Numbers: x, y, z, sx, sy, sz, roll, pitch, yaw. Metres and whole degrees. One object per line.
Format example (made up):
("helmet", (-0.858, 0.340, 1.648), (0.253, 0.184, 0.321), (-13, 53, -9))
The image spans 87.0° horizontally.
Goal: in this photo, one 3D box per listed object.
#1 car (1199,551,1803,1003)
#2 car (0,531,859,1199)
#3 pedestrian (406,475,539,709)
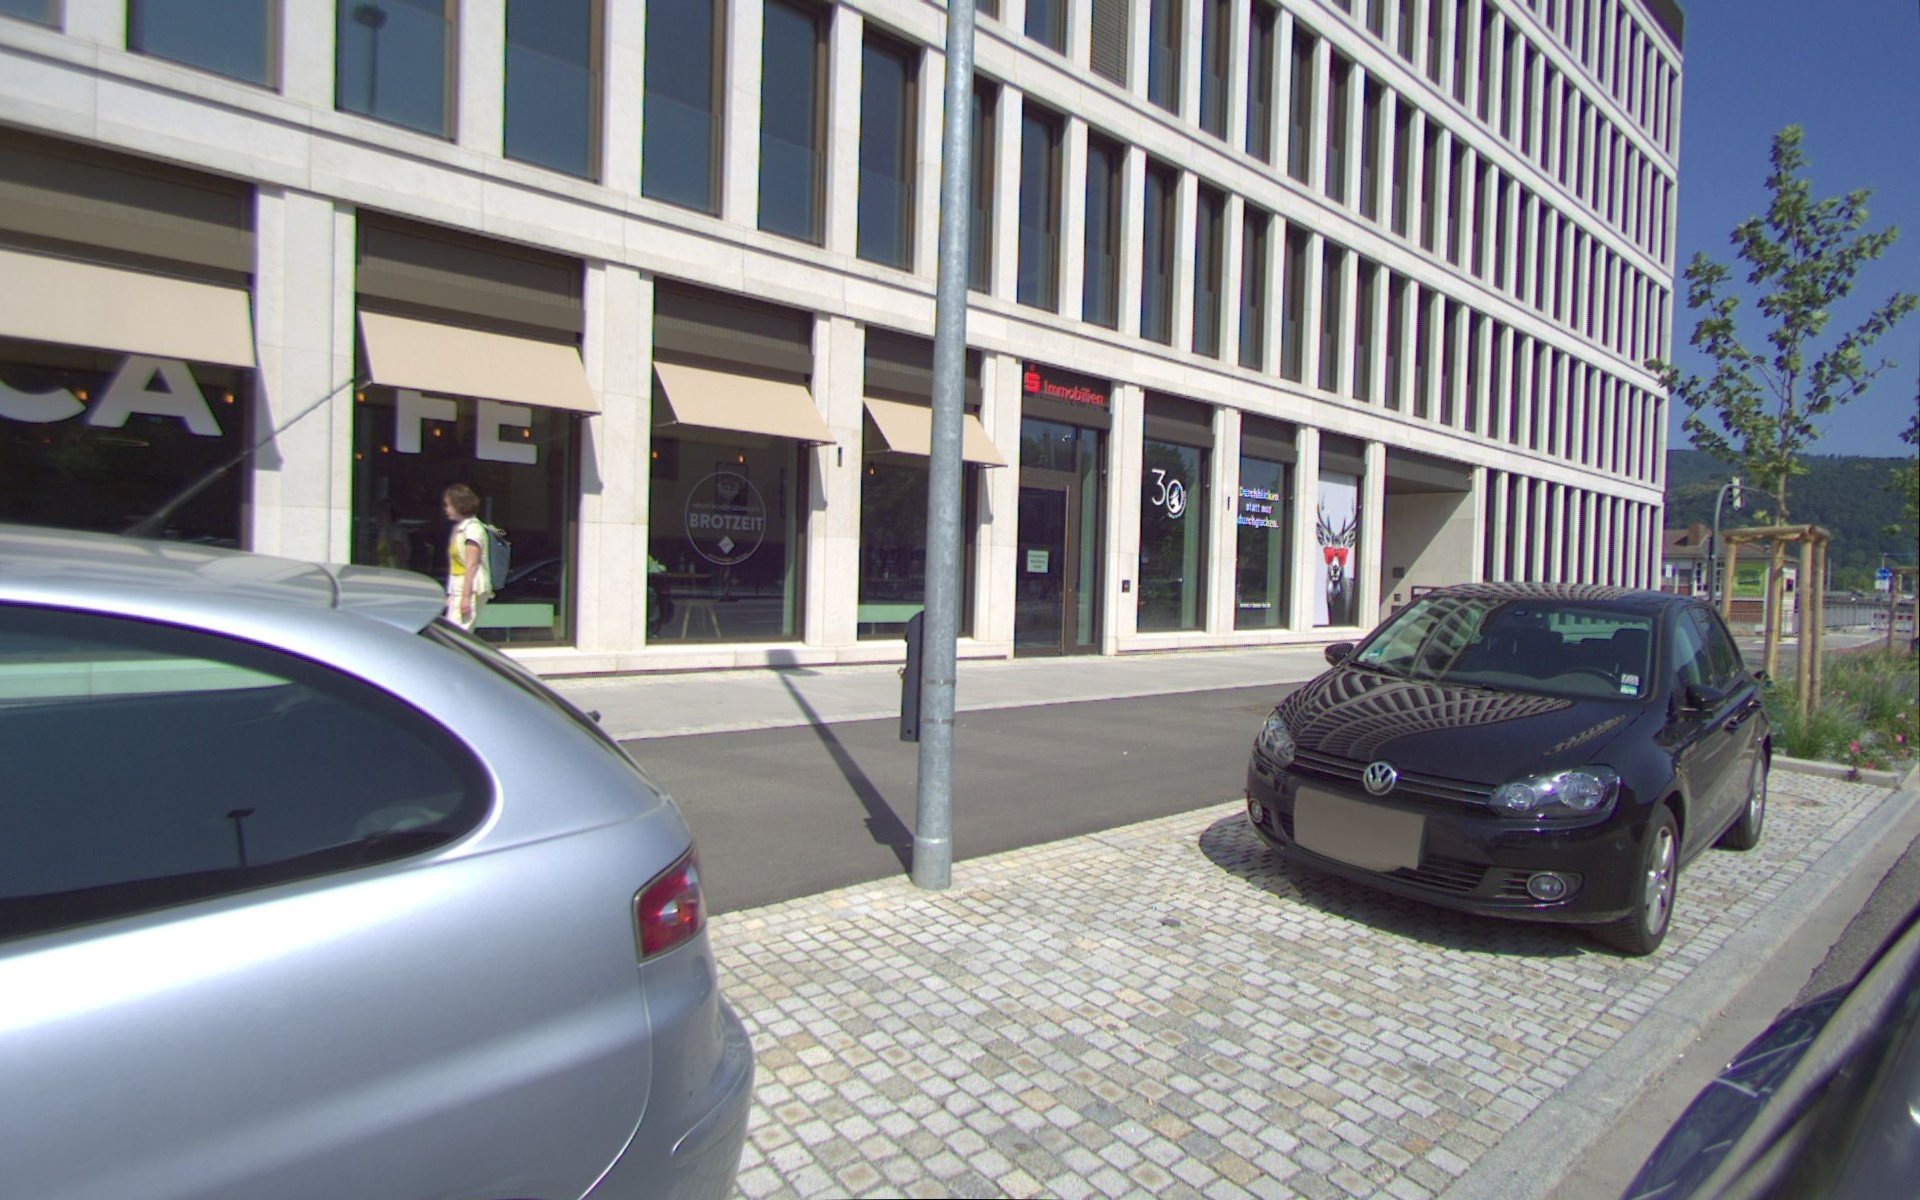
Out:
("car", (3.126, 0.575, 5.434), (3.915, 1.492, 1.738), (0, 3, -45))
("car", (-2.113, 0.595, 0.982), (3.747, 1.405, 1.608), (1, 2, -41))
("pedestrian", (-3.925, -0.068, 8.148), (0.800, 1.764, 0.629), (1, 1, -41))
